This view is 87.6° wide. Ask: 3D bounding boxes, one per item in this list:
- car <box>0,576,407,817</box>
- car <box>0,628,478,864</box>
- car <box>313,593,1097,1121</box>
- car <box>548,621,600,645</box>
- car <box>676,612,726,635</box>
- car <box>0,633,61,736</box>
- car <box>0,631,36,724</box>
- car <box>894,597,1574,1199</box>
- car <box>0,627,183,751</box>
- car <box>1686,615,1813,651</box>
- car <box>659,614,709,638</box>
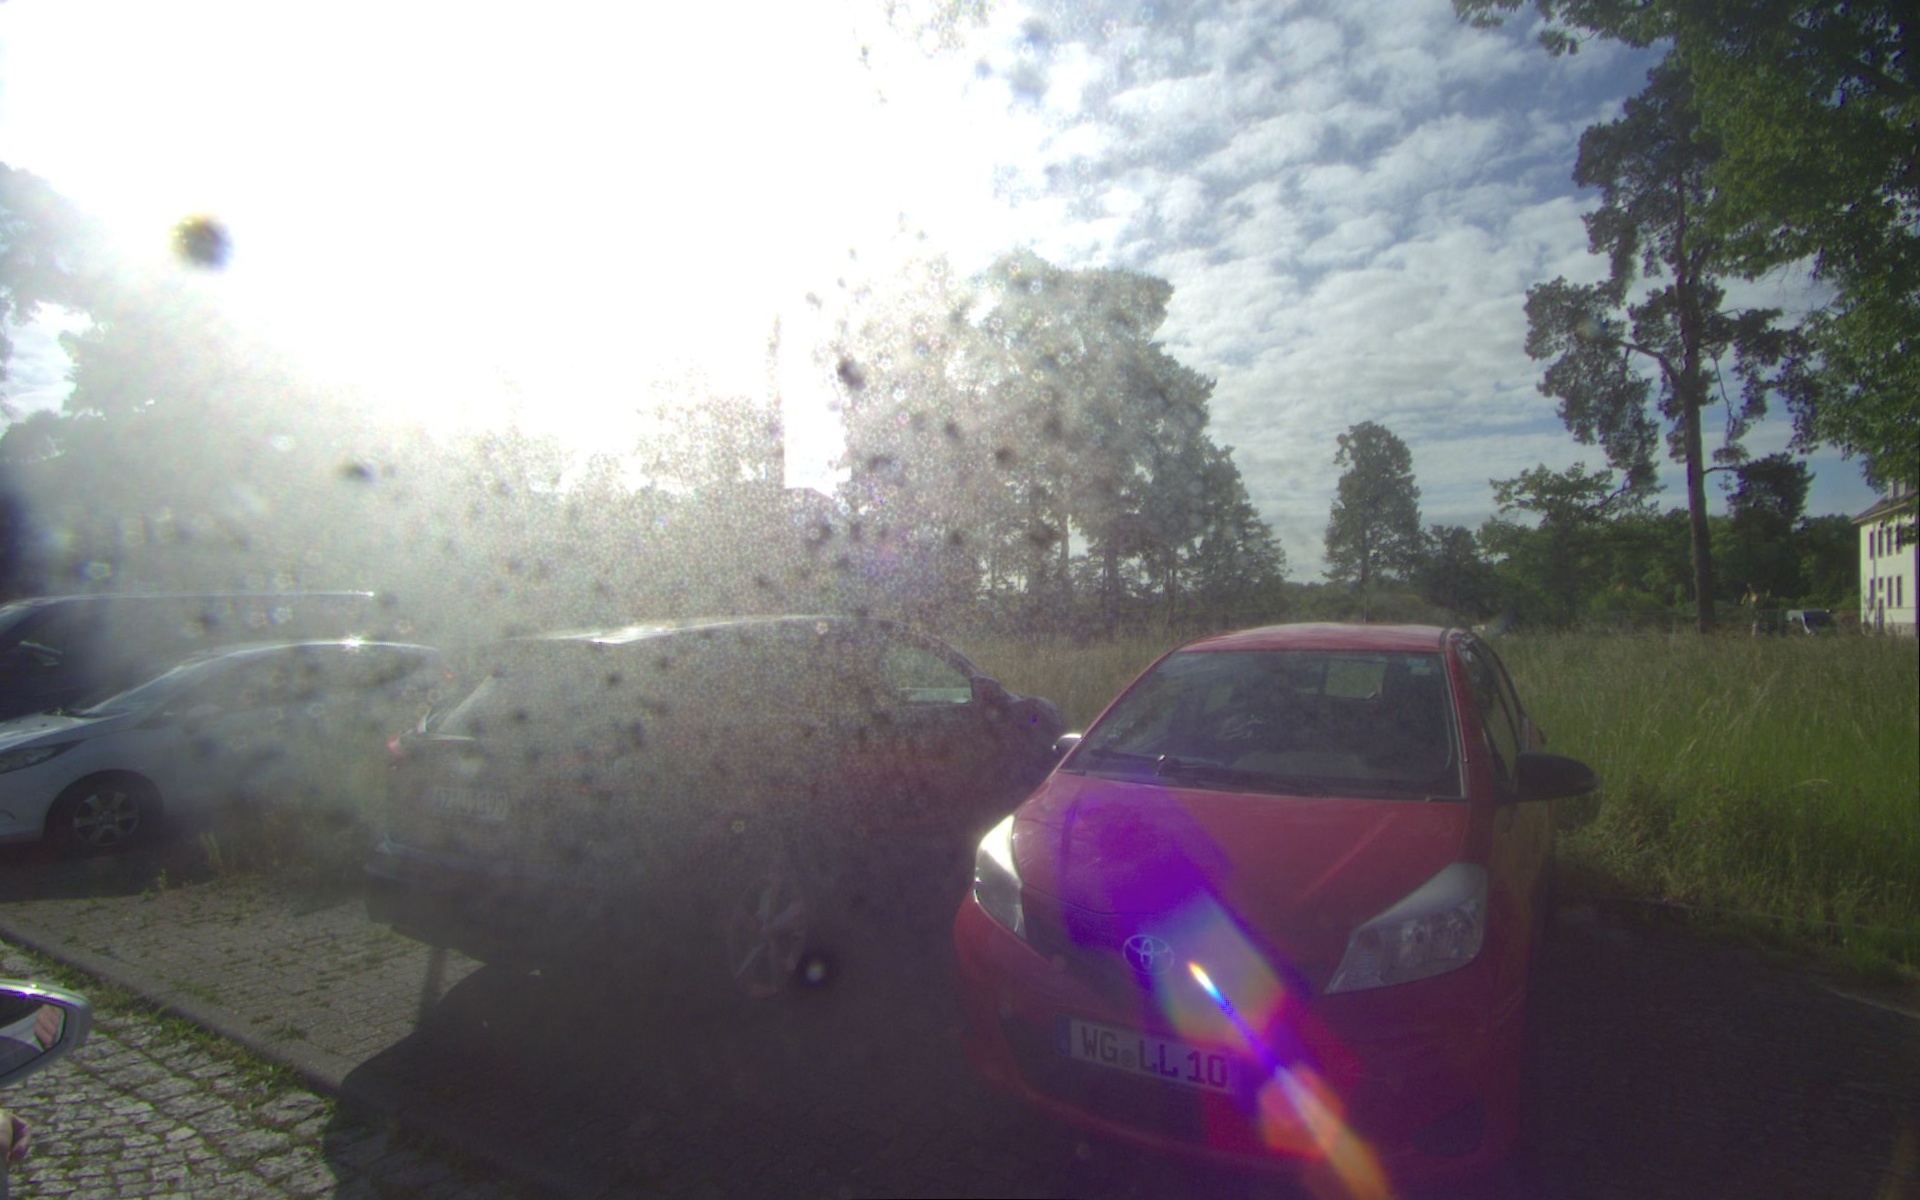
[{"bbox_3d":[-8.422,0.852,10.051,2.052,2.039,4.672,-1,-1,29],"label":"car"},{"bbox_3d":[-6.284,1.024,8.485,1.621,1.507,3.714,-1,-1,30],"label":"car"},{"bbox_3d":[-0.861,0.849,5.265,1.746,1.642,3.930,-1,-1,31],"label":"car"},{"bbox_3d":[-34.849,2.954,90.429,1.971,2.039,3.980,-1,-1,32],"label":"car"},{"bbox_3d":[-22.686,2.054,87.689,1.971,2.039,3.980,-1,-1,32],"label":"car"},{"bbox_3d":[-15.289,1.254,14.058,1.621,1.486,3.669,-1,0,31],"label":"car"},{"bbox_3d":[-17.413,1.290,16.088,1.621,1.549,3.473,-1,-1,31],"label":"car"},{"bbox_3d":[1.492,0.817,4.045,1.622,1.550,3.755,-1,-1,32],"label":"car"},{"bbox_3d":[-12.617,1.159,12.964,1.622,1.485,3.685,-1,0,33],"label":"car"},{"bbox_3d":[50.885,2.190,64.733,2.339,2.198,5.995,0,-2,-25],"label":"car"},{"bbox_3d":[-24.425,2.301,88.760,1.971,2.039,3.980,-1,-1,32],"label":"car"}]
